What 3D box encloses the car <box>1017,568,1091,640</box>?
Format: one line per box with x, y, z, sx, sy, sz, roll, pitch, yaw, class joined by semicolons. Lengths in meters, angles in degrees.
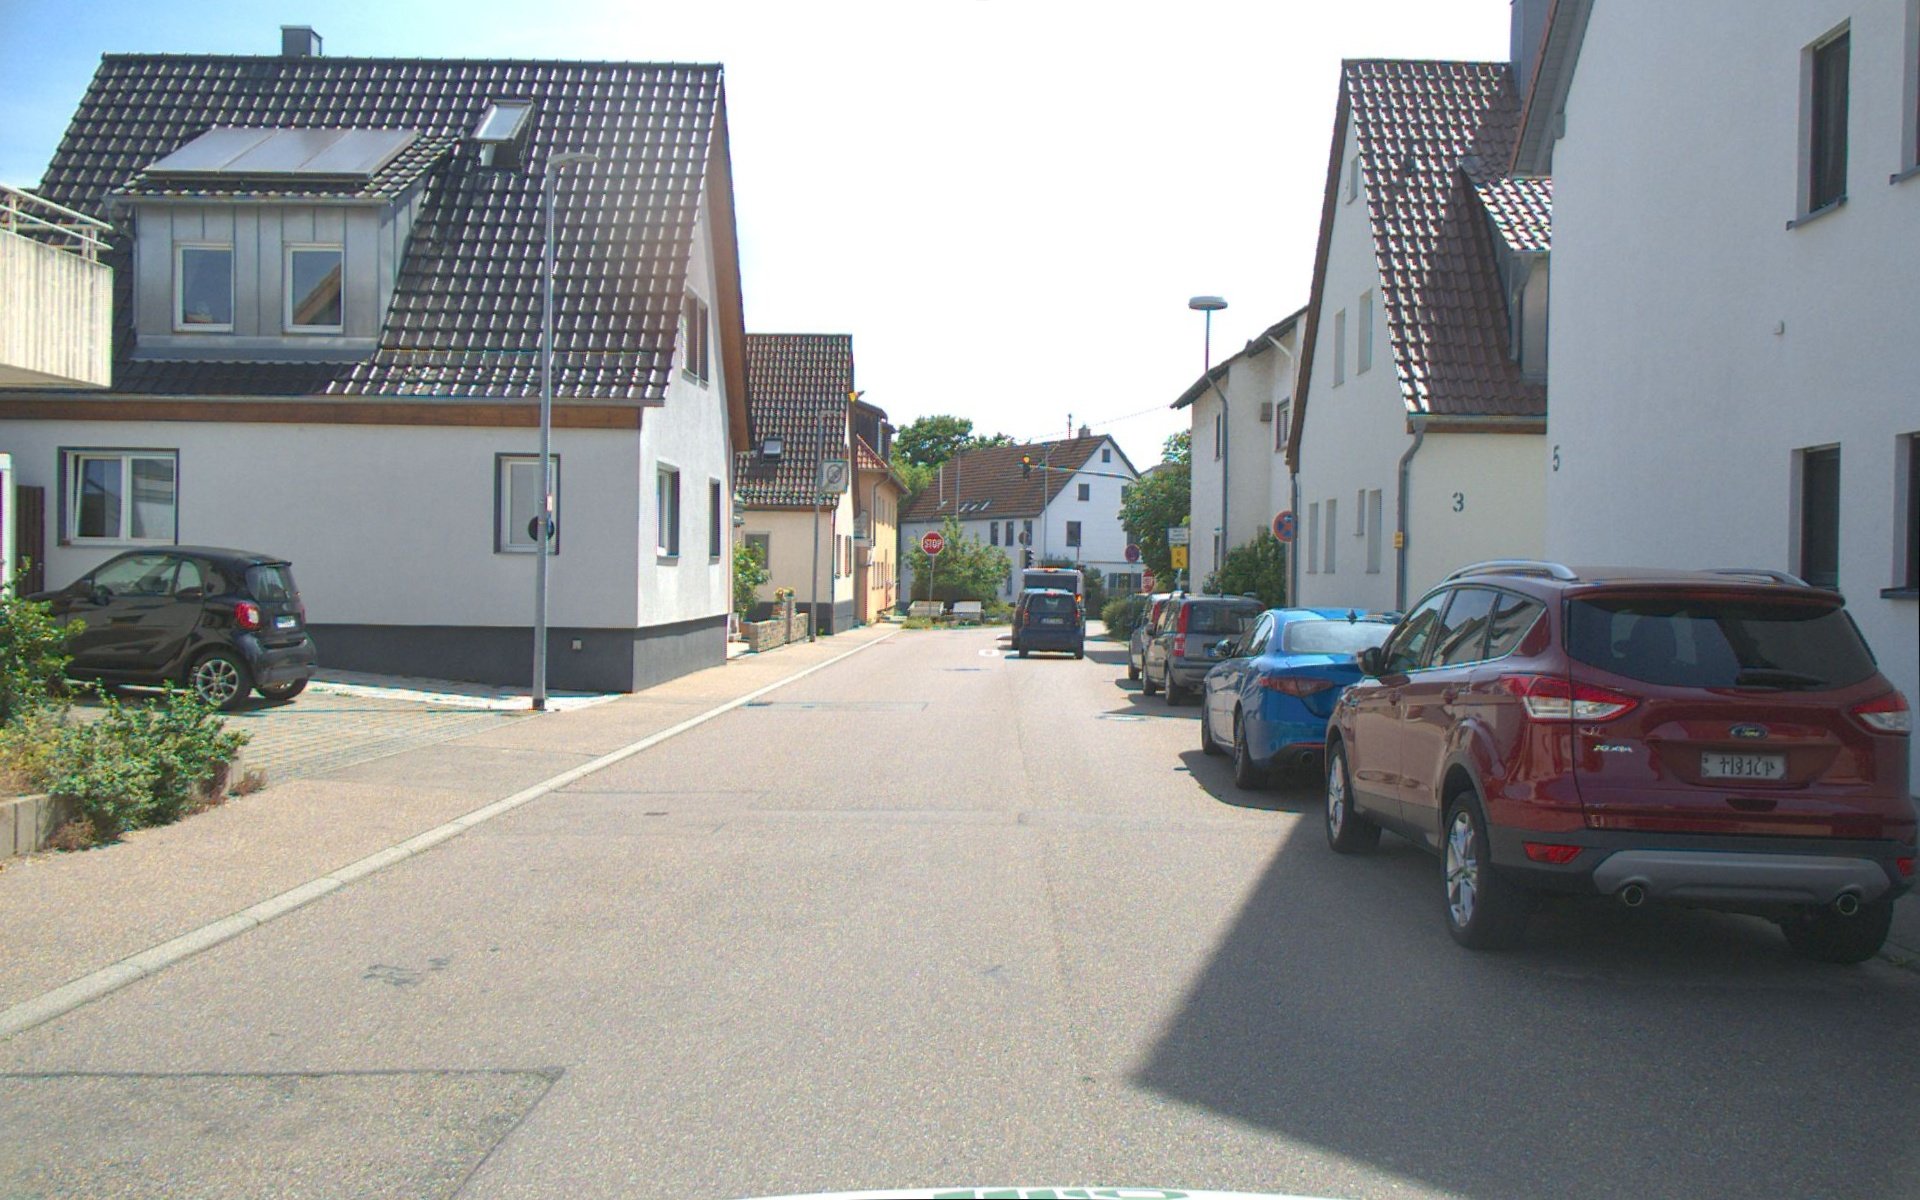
3.095;0.115;53.571;2.083;2.196;4.740;1;0;7;car

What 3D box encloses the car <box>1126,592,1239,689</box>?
3.770;0.642;28.467;1.467;1.539;3.362;1;0;0;car

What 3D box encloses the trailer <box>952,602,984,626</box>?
0.321;0.582;69.107;1.283;0.987;0.934;1;0;2;trailer

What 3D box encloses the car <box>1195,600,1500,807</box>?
3.154;0.757;14.380;1.726;1.448;4.593;1;0;2;car

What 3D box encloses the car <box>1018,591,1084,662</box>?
2.208;0.599;39.561;1.484;1.594;3.186;1;0;4;car

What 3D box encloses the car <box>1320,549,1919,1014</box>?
3.168;0.684;8.419;1.837;1.730;4.184;2;0;2;car

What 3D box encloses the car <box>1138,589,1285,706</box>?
3.610;0.639;24.258;1.535;1.572;3.448;1;0;-1;car

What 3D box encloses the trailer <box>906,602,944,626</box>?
-1.463;0.582;69.299;1.470;0.943;1.013;3;0;2;trailer

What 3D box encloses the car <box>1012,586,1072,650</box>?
2.223;0.465;44.321;1.484;1.653;3.186;0;0;4;car

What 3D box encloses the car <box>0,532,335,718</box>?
-8.305;0.227;16.946;3.047;1.604;1.714;4;0;0;car
